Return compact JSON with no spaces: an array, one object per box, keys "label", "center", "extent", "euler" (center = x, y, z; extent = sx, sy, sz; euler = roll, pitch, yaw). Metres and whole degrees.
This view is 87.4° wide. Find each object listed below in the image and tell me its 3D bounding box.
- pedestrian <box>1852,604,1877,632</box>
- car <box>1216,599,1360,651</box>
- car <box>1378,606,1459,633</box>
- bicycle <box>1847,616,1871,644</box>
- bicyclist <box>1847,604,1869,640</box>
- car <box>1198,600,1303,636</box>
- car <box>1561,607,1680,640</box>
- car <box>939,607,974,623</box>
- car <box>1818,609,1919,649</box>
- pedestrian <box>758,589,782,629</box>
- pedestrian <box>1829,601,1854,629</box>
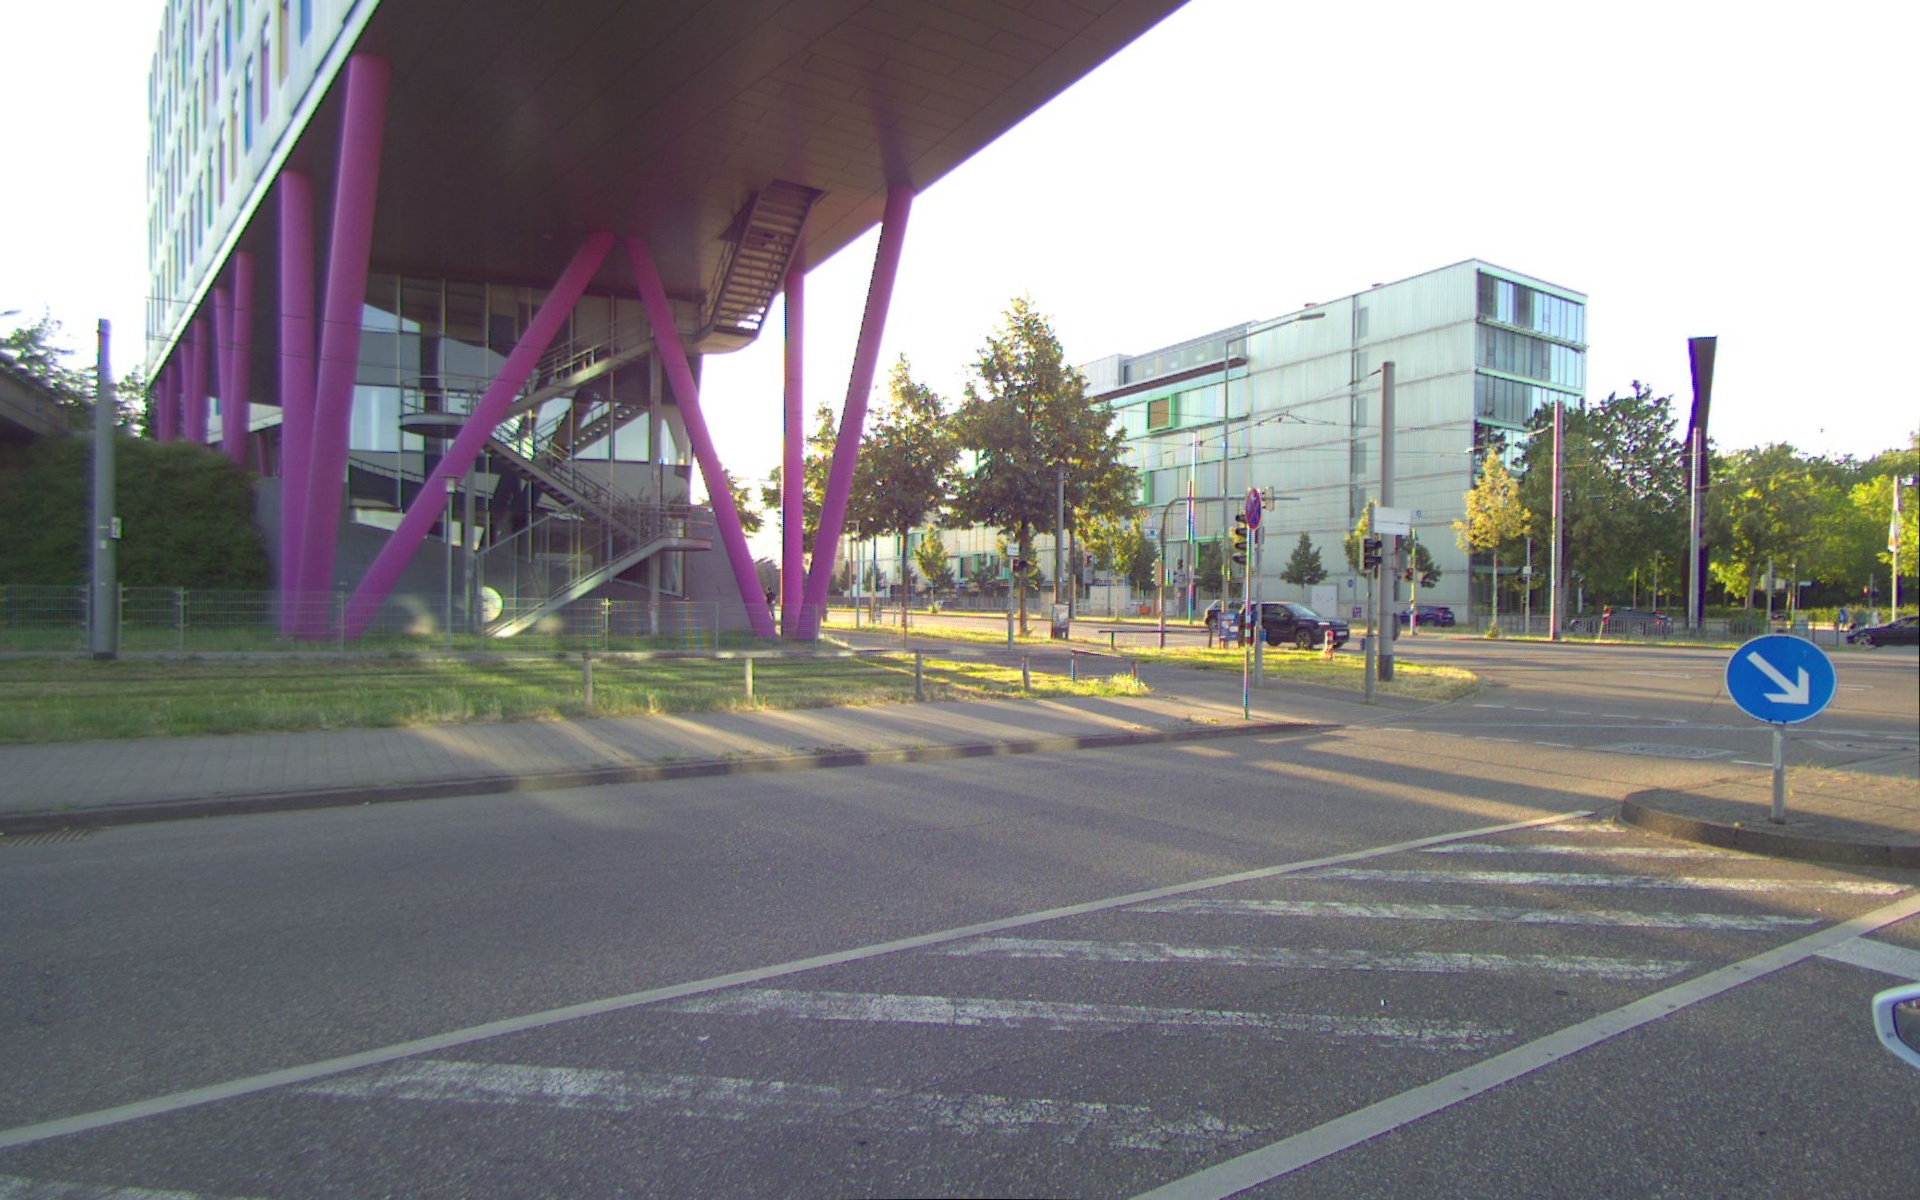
[{"label":"pedestrian","center":[58.098,1.173,64.498],"extent":[0.813,1.767,0.863],"euler":[1,0,4]},{"label":"car","center":[11.054,0.811,34.130],"extent":[1.979,1.595,4.406],"euler":[1,0,-34]},{"label":"car","center":[29.420,1.241,64.609],"extent":[1.975,1.572,4.454],"euler":[2,-1,-28]},{"label":"bicycle","center":[44.959,1.481,50.243],"extent":[0.721,1.359,2.679],"euler":[1,0,38]},{"label":"bicyclist","center":[45.035,1.098,50.373],"extent":[0.741,1.732,0.916],"euler":[1,0,38]},{"label":"car","center":[13.288,0.797,46.197],"extent":[1.968,1.577,4.448],"euler":[1,0,-34]},{"label":"car","center":[35.720,1.250,54.475],"extent":[1.977,1.572,5.075],"euler":[2,-1,-30]},{"label":"car","center":[-0.390,1.496,101.183],"extent":[1.973,1.506,3.974],"euler":[1,0,-25]},{"label":"car","center":[39.179,1.205,41.593],"extent":[1.977,1.572,5.200],"euler":[2,-1,-30]},{"label":"pedestrian","center":[-8.474,0.406,44.727],"extent":[0.919,1.747,0.879],"euler":[0,-2,-20]},{"label":"pedestrian","center":[56.713,0.966,64.604],"extent":[0.814,1.767,0.862],"euler":[1,0,-3]}]
